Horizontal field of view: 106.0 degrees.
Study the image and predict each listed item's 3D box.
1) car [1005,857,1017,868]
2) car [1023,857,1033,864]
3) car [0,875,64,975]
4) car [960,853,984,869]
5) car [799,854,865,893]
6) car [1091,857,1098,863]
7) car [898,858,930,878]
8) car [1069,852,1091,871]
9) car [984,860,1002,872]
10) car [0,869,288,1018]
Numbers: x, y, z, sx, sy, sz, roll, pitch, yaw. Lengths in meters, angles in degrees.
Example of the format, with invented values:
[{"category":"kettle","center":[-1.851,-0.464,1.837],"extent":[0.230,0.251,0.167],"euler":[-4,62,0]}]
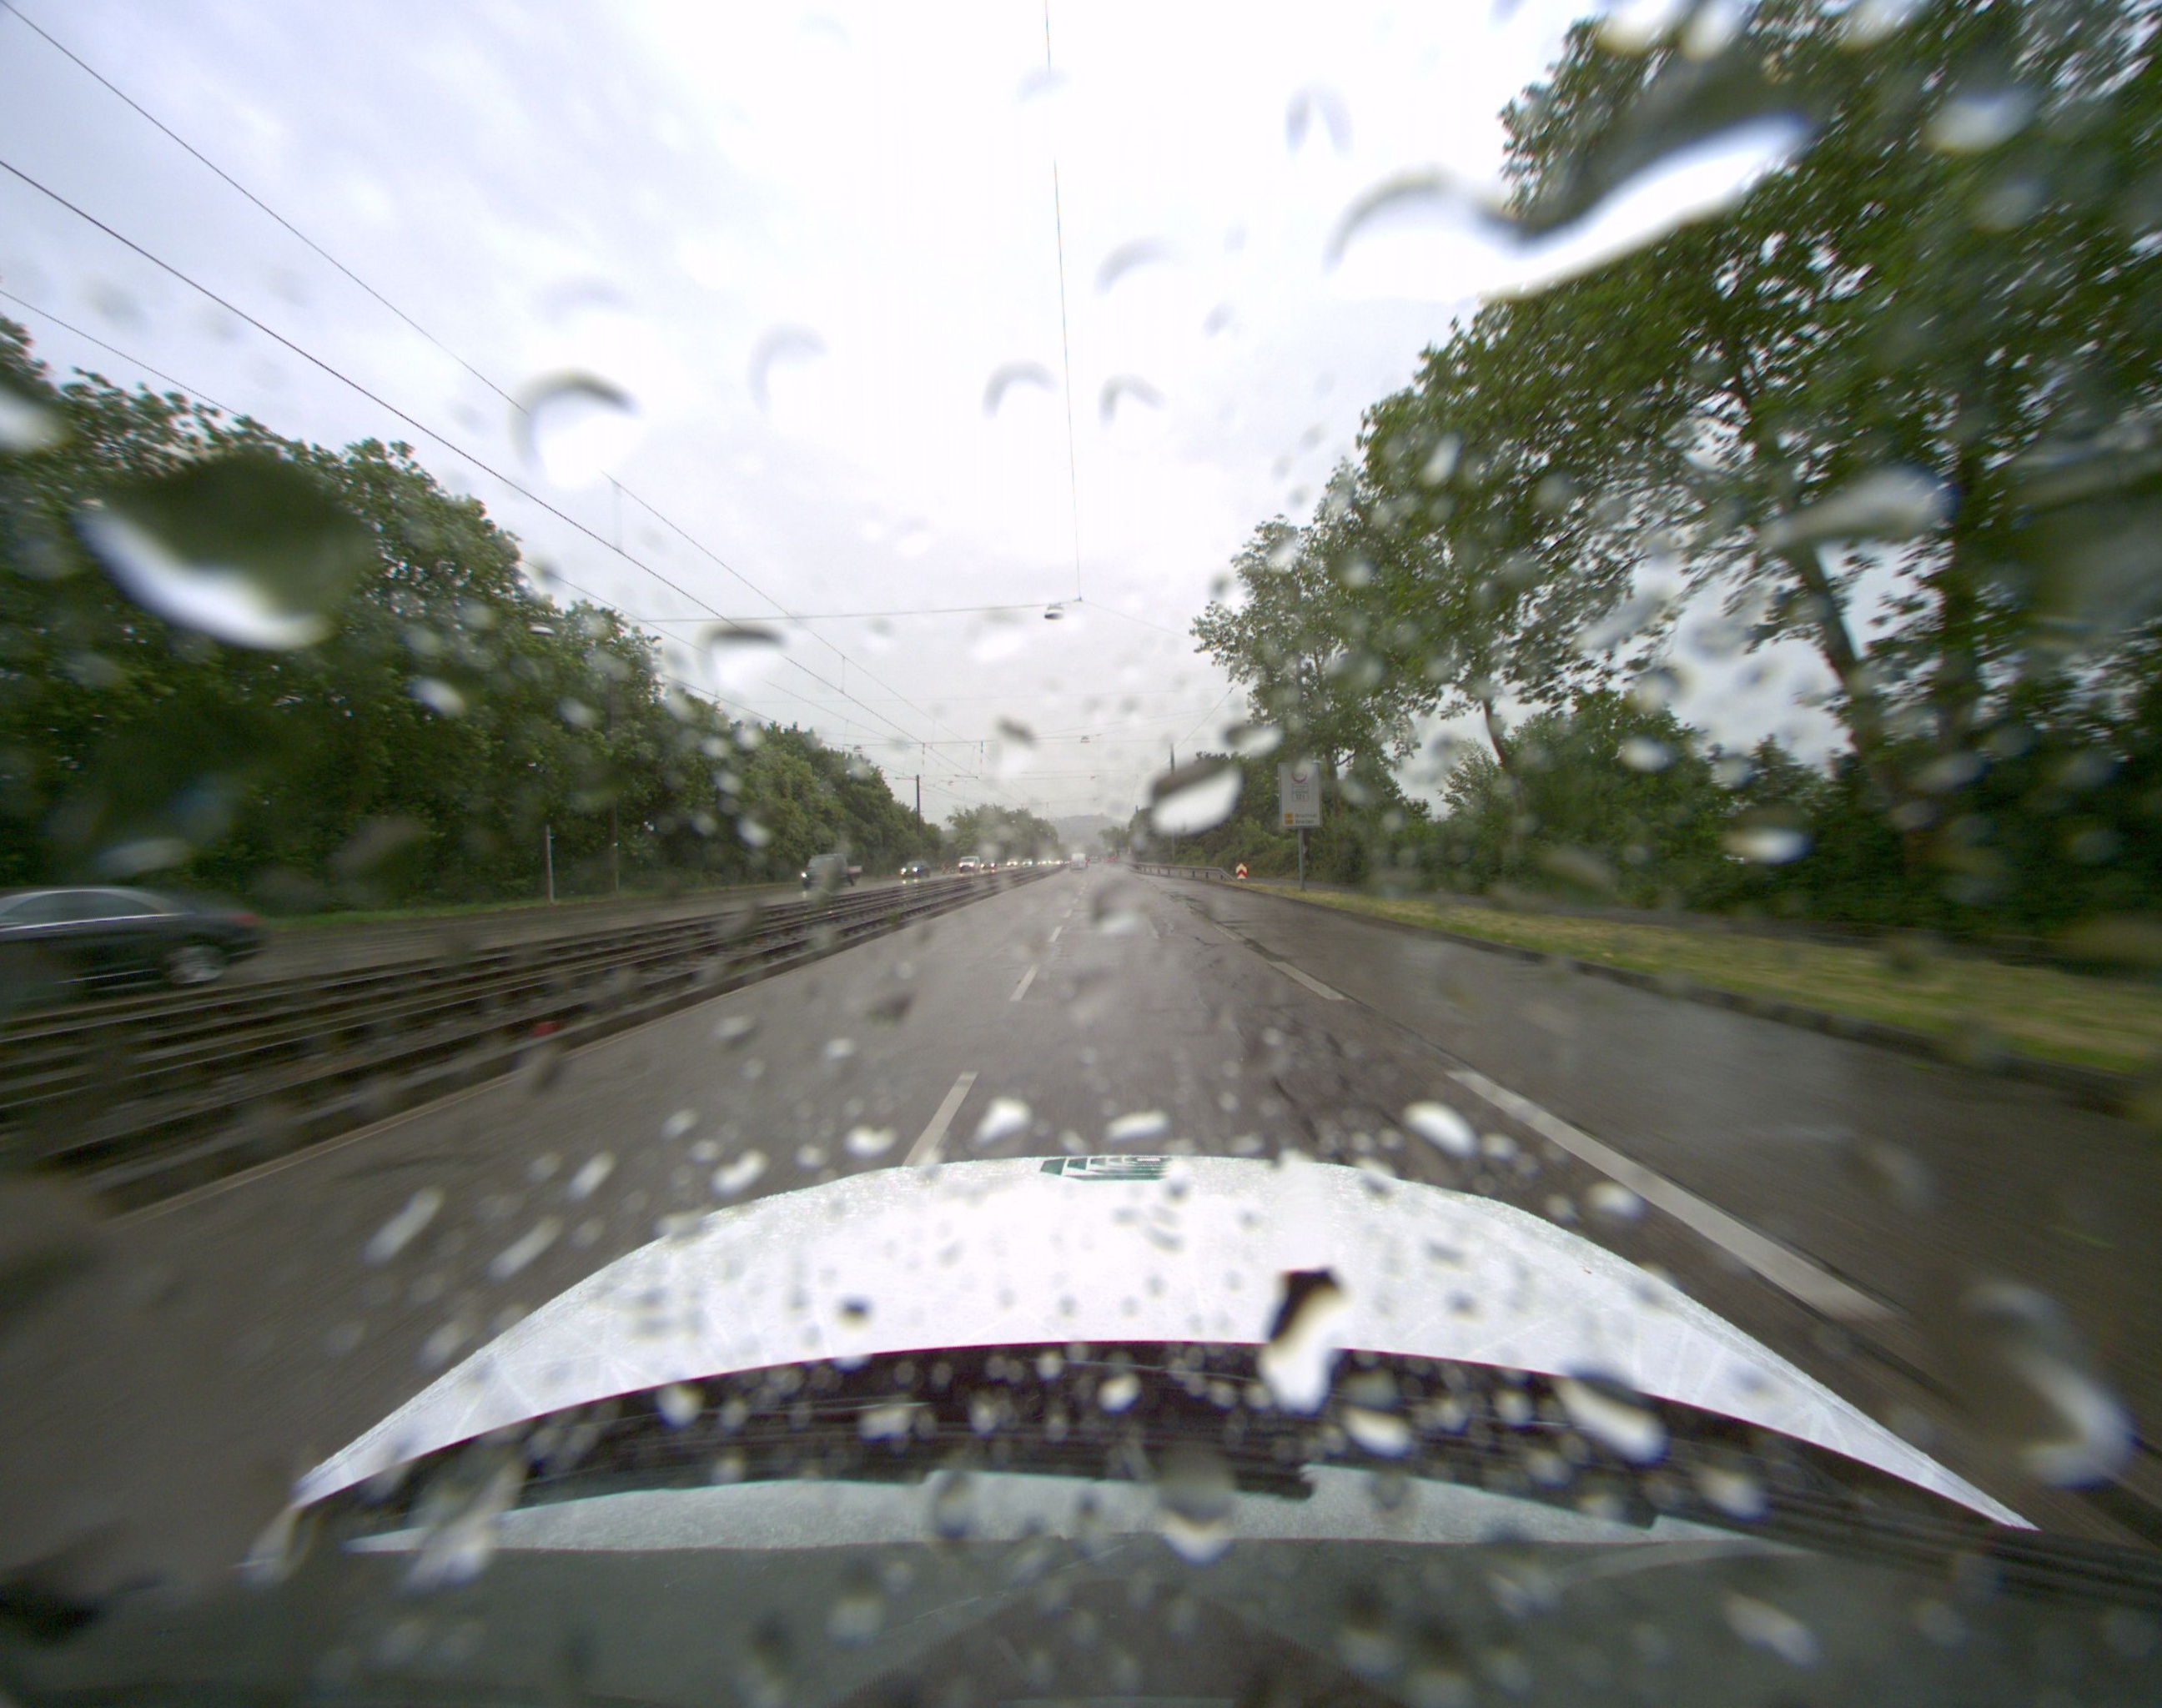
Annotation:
[{"category":"car","center":[-12.528,1.517,145.876],"extent":[1.748,1.711,4.001],"euler":[0,1,1]},{"category":"car","center":[-11.235,1.392,173.025],"extent":[1.791,1.453,4.197],"euler":[0,1,2]},{"category":"car","center":[-19.709,1.277,12.486],"extent":[1.813,1.705,5.022],"euler":[0,1,1]},{"category":"car","center":[-13.236,0.814,99.099],"extent":[2.031,1.775,4.990],"euler":[0,1,3]},{"category":"car","center":[-16.847,1.257,55.568],"extent":[2.091,2.343,6.994],"euler":[0,1,2]},{"category":"car","center":[3.625,1.586,221.987],"extent":[1.737,1.508,3.701],"euler":[0,1,1]},{"category":"car","center":[-15.449,1.279,75.460],"extent":[1.833,1.716,4.168],"euler":[0,1,4]},{"category":"car","center":[-0.095,0.722,80.047],"extent":[1.981,1.684,3.743],"euler":[0,1,3]},{"category":"car","center":[-12.488,1.729,116.099],"extent":[1.681,1.519,4.617],"euler":[0,1,5]},{"category":"car","center":[-13.221,1.082,9.756],"extent":[1.769,1.585,5.683],"euler":[0,1,1]}]
